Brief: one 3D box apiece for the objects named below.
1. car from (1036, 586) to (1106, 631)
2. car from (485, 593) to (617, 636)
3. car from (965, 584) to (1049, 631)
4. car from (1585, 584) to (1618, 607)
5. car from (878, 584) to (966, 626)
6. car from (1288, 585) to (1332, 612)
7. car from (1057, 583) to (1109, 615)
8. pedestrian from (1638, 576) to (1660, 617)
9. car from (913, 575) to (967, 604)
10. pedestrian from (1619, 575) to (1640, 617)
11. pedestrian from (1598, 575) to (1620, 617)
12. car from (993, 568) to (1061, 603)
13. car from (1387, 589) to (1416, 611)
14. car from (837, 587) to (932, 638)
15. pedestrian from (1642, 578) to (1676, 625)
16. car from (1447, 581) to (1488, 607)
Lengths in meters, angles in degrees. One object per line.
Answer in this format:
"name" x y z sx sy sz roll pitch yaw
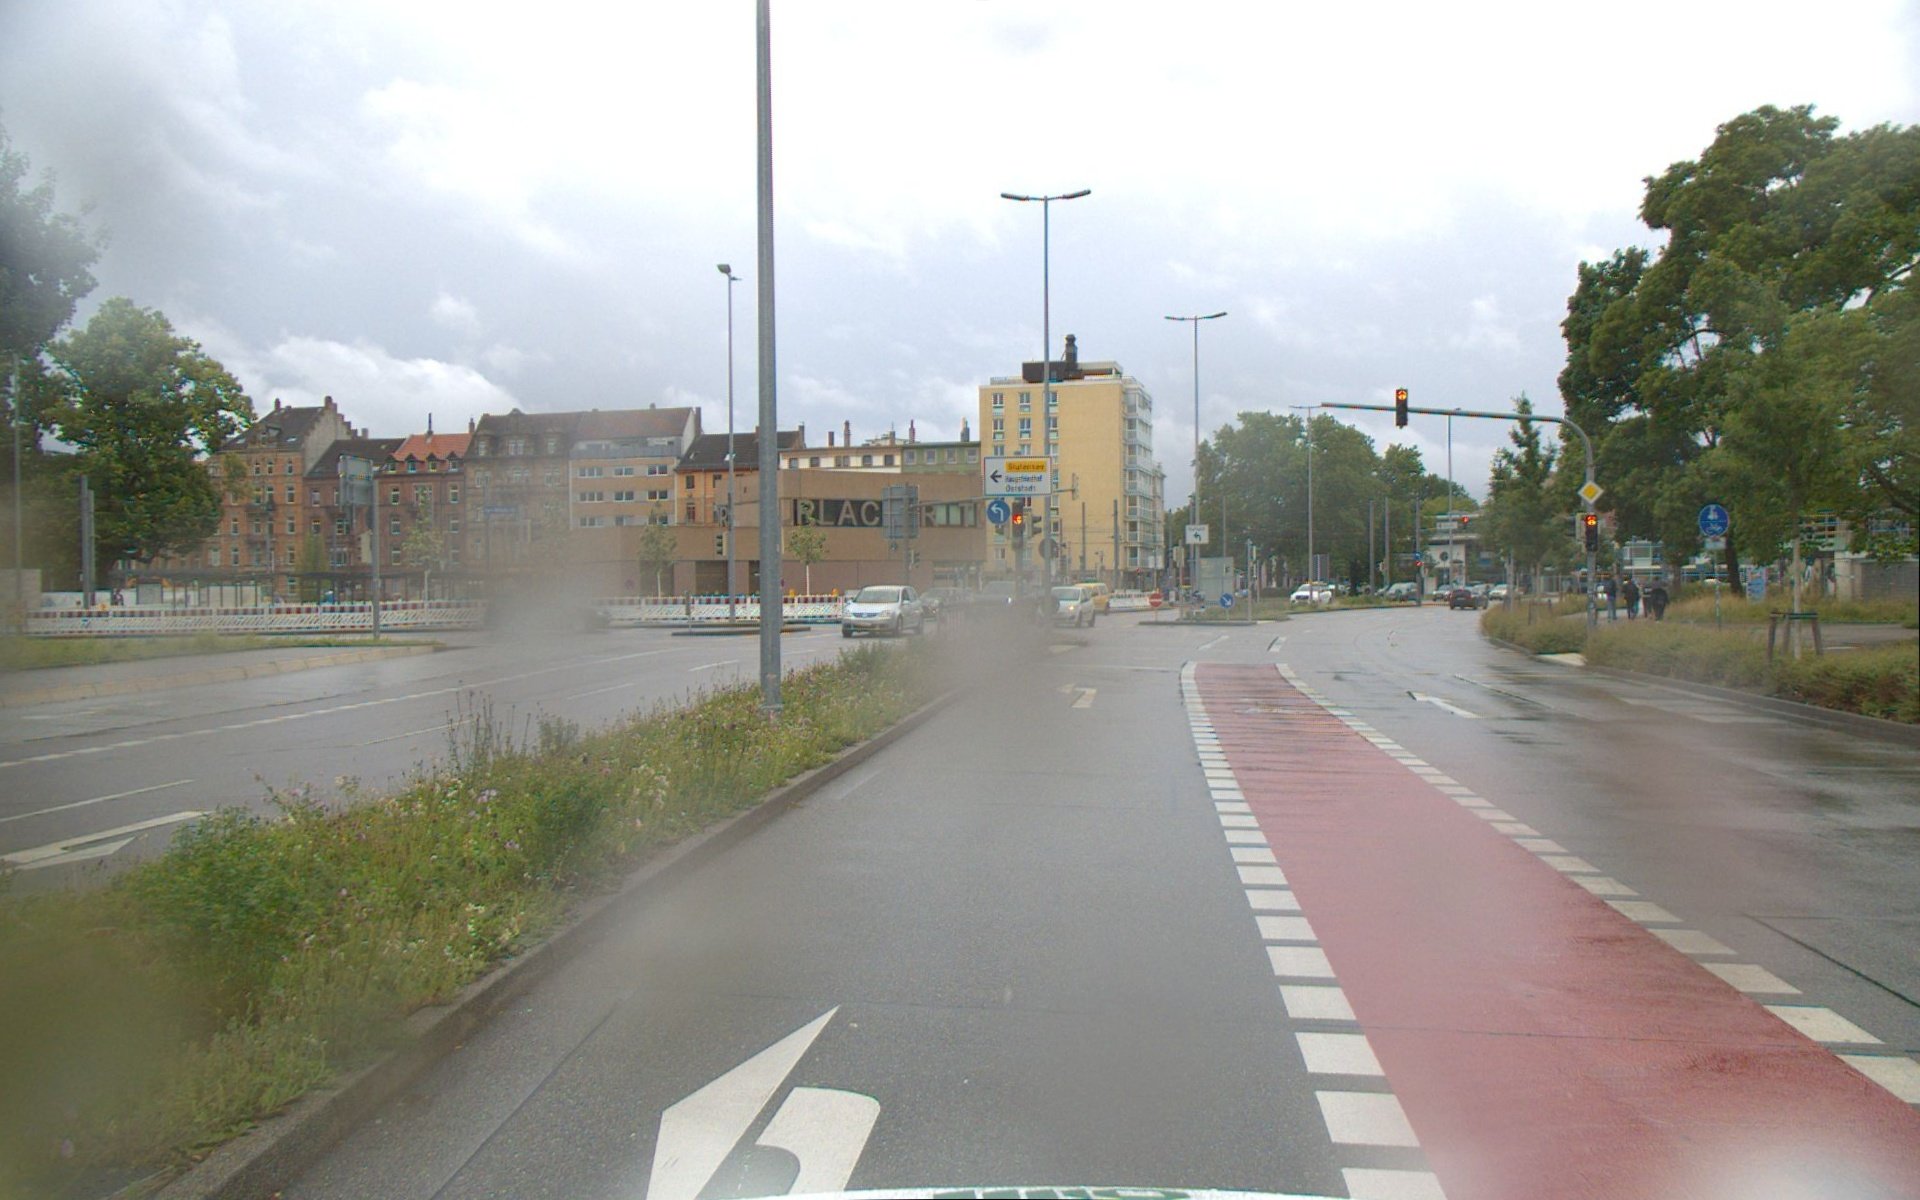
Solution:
"car" 4.151 0.295 61.375 1.644 1.527 3.870 -1 0 18
"car" -14.015 0.494 56.776 4.104 1.427 1.618 -1 0 2
"car" 1.857 0.257 63.726 1.952 1.664 4.605 -2 0 19
"car" 48.273 -0.360 124.417 1.756 1.672 4.151 0 0 30
"car" -1.602 0.203 70.701 1.679 1.735 3.800 0 1 40
"car" 24.179 -0.100 114.100 1.790 1.711 5.162 -2 0 26
"car" 6.881 -0.068 92.010 1.671 1.735 4.152 0 0 22
"pedestrian" 26.794 -0.140 64.336 0.688 1.615 0.937 0 0 19
"car" -2.058 -1.087 171.675 5.236 2.938 2.341 -1 0 11
"pedestrian" 26.152 -0.149 64.641 0.688 1.615 0.937 0 0 19
"pedestrian" 25.462 -0.149 64.859 0.738 1.615 0.937 0 0 19
"car" 6.916 -1.488 169.655 6.597 3.439 2.812 -1 0 11
"car" 38.342 -0.008 143.682 1.660 1.720 4.181 -1 2 26
"car" -2.214 0.349 49.654 1.643 1.429 4.161 -1 0 15
"pedestrian" 24.418 0.050 57.776 1.001 1.615 0.937 0 0 19
"car" 33.928 -0.390 110.483 1.756 1.672 4.151 0 0 30
